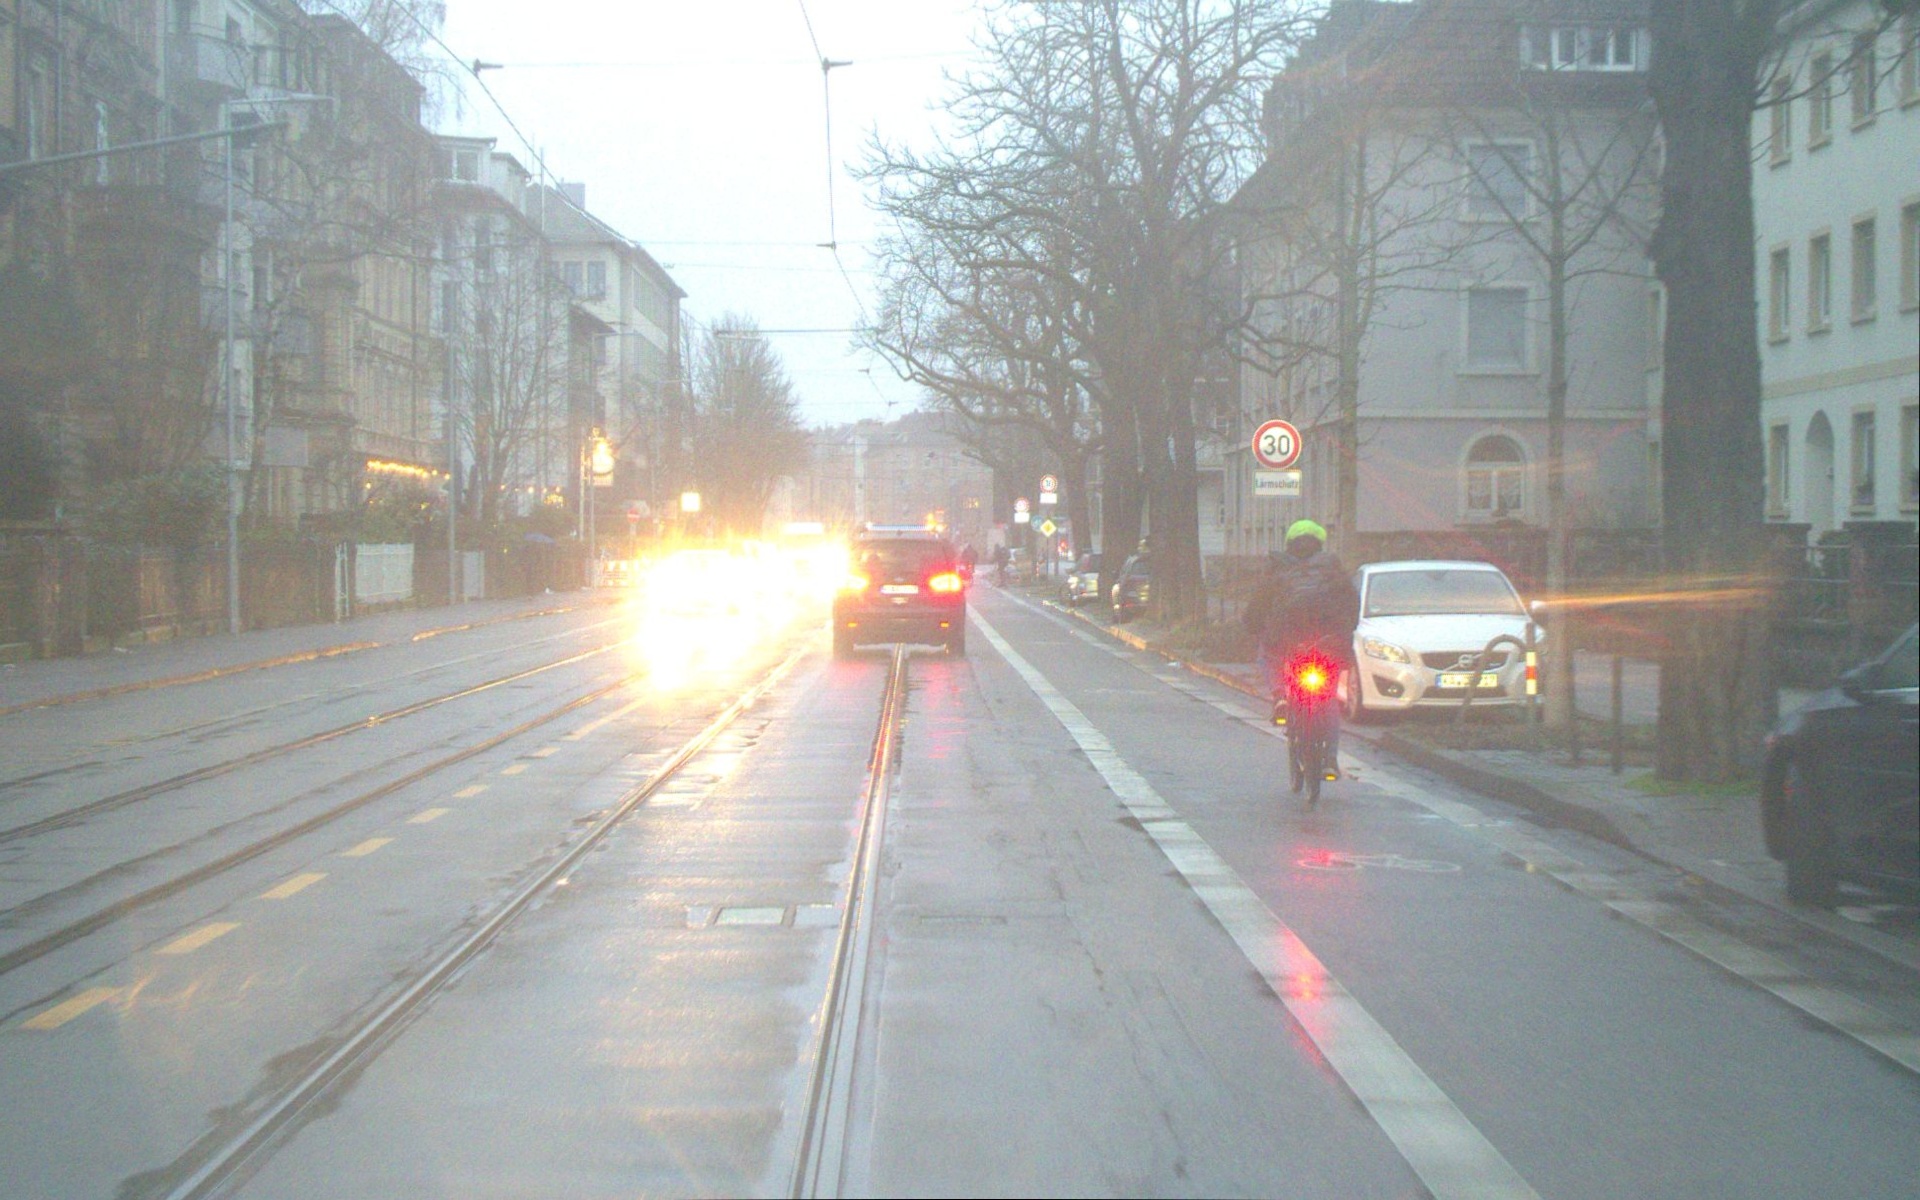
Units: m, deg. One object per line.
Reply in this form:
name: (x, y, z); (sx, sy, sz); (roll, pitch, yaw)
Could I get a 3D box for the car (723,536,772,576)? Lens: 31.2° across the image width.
car: (-9.224, -1.905, 149.308); (1.923, 1.714, 4.000); (0, 1, -1)

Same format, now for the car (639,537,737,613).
car: (-6.089, -0.580, 77.338); (1.923, 1.656, 4.000); (0, 1, -1)

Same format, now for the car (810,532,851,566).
car: (-6.380, -2.519, 169.803); (1.923, 1.656, 4.000); (0, 1, -1)

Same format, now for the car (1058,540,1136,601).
car: (3.456, -0.757, 87.218); (1.785, 1.504, 4.109); (0, 1, -1)

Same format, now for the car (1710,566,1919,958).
car: (4.467, 0.595, 13.202); (1.878, 1.415, 4.345); (-1, 1, -5)

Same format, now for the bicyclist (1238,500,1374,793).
bicyclist: (2.077, 0.268, 20.733); (0.730, 1.730, 0.765); (0, 1, 1)

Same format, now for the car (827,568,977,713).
car: (-0.783, 0.530, 48.885); (1.802, 1.864, 4.018); (3, 1, 2)

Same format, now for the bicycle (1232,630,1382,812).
bicycle: (2.075, 0.709, 20.750); (0.731, 1.003, 1.764); (0, 1, 0)

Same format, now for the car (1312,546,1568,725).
car: (4.293, 0.269, 31.287); (1.785, 1.504, 4.108); (0, 1, 1)

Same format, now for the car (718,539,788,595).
car: (-6.273, -1.020, 104.486); (1.923, 1.656, 4.000); (0, 1, -1)

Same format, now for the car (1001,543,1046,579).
car: (2.675, -1.669, 146.030); (1.785, 1.504, 4.109); (0, 1, -1)

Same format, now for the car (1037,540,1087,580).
car: (3.924, -1.562, 132.923); (1.785, 1.504, 4.109); (0, 1, -1)

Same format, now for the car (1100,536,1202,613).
car: (3.805, -0.531, 69.192); (1.785, 1.504, 4.109); (0, 1, -1)

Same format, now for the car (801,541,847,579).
car: (-5.972, -1.770, 150.981); (1.923, 1.656, 4.000); (0, 1, -1)
